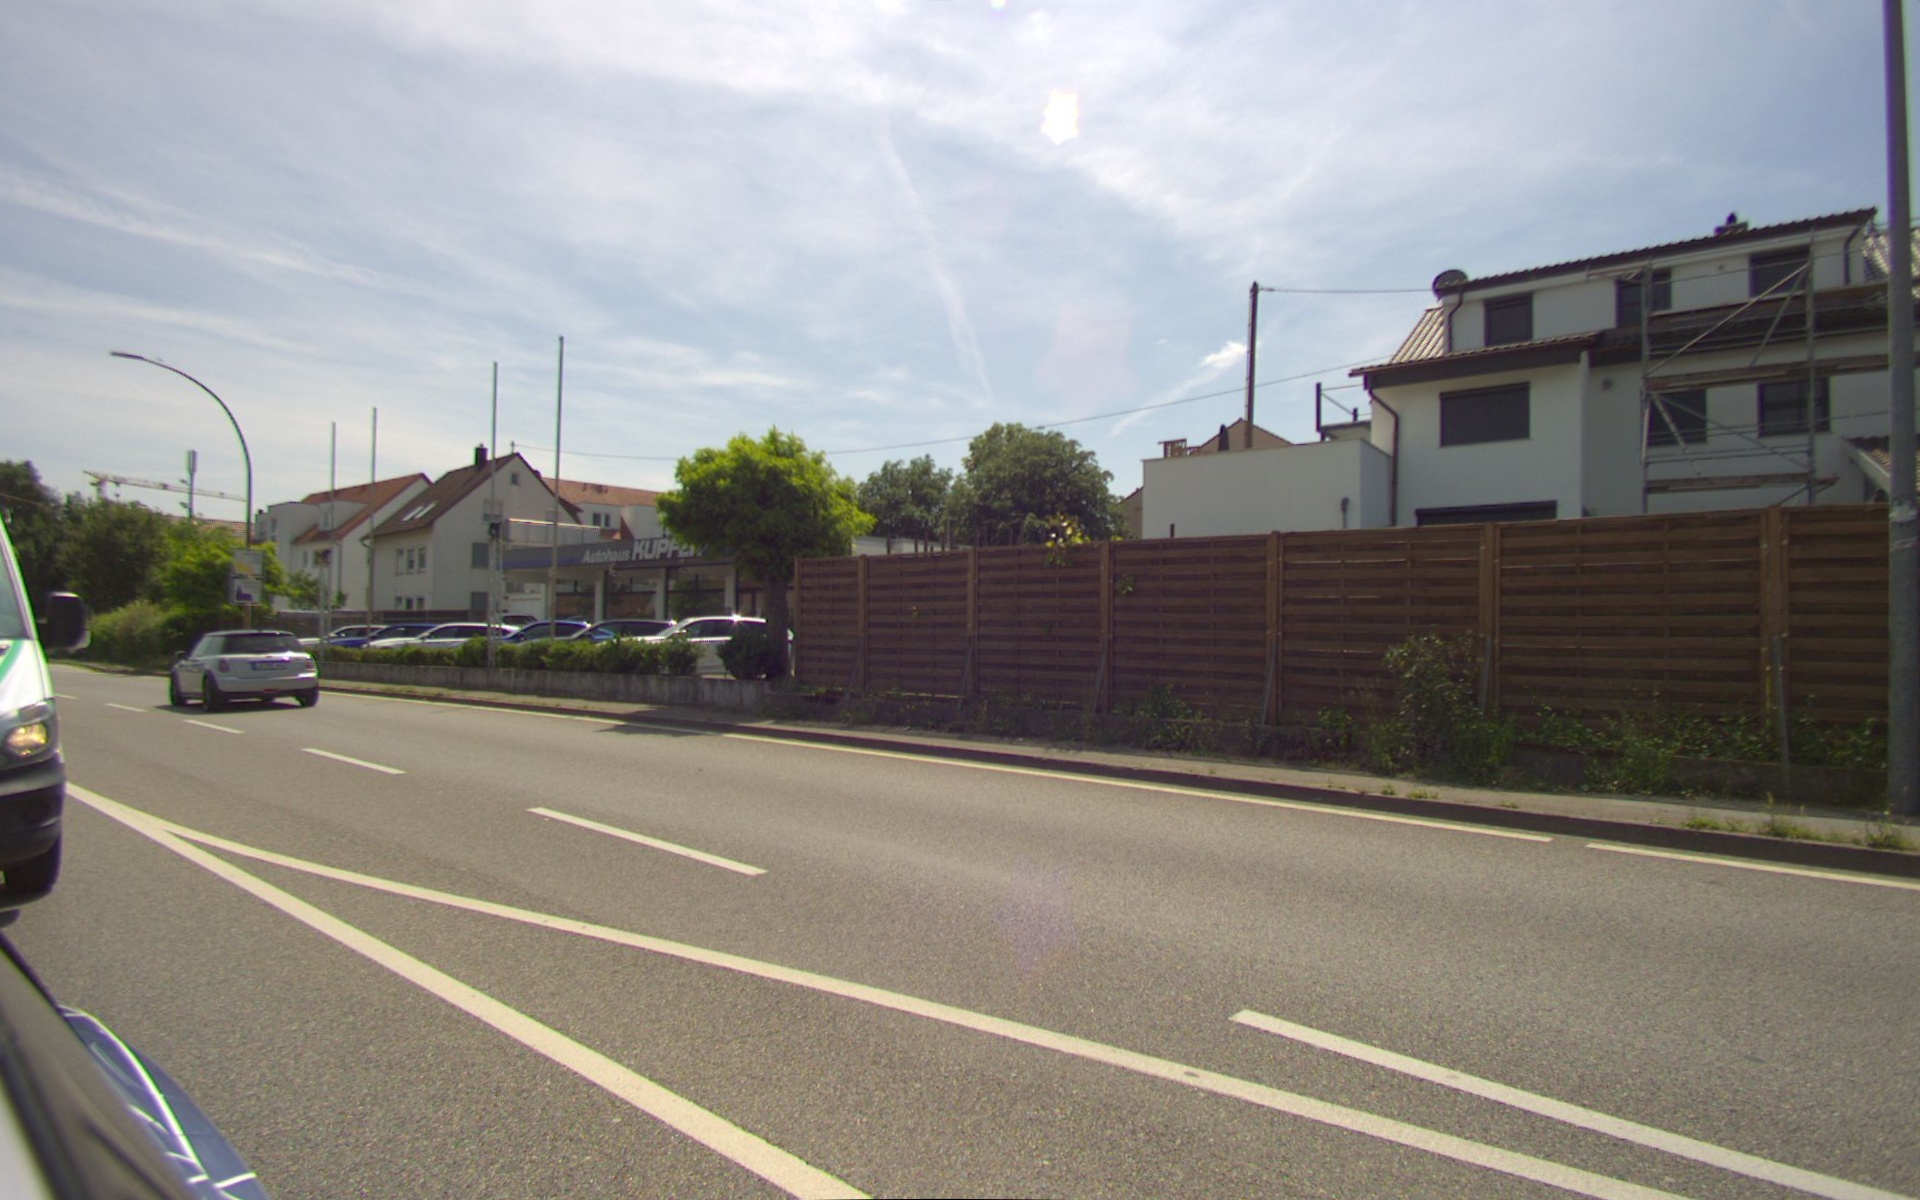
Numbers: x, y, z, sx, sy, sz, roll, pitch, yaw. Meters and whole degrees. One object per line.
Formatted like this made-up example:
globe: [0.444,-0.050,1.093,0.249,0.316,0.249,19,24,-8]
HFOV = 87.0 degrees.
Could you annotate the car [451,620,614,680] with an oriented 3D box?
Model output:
car: [-11.565,1.316,27.465,3.931,1.453,1.860,-1,-1,-25]

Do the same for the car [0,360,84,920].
car: [-7.079,0.256,6.008,5.628,2.619,1.953,-2,-1,40]

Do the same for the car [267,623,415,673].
car: [-21.493,1.636,35.346,4.192,1.541,2.006,-1,-1,-24]

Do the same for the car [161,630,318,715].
car: [-13.434,1.275,18.800,3.558,1.392,1.605,-2,-1,41]

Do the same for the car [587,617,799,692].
car: [-5.919,1.149,22.446,4.264,1.471,1.861,0,-1,-26]

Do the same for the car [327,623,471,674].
car: [-18.140,1.526,32.932,3.930,1.475,2.006,-1,-1,-24]

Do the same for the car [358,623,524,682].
car: [-15.213,1.498,29.937,4.238,1.530,2.006,-1,-1,-23]

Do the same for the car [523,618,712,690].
car: [-8.456,1.283,25.027,4.187,1.557,1.856,-1,-1,-27]
